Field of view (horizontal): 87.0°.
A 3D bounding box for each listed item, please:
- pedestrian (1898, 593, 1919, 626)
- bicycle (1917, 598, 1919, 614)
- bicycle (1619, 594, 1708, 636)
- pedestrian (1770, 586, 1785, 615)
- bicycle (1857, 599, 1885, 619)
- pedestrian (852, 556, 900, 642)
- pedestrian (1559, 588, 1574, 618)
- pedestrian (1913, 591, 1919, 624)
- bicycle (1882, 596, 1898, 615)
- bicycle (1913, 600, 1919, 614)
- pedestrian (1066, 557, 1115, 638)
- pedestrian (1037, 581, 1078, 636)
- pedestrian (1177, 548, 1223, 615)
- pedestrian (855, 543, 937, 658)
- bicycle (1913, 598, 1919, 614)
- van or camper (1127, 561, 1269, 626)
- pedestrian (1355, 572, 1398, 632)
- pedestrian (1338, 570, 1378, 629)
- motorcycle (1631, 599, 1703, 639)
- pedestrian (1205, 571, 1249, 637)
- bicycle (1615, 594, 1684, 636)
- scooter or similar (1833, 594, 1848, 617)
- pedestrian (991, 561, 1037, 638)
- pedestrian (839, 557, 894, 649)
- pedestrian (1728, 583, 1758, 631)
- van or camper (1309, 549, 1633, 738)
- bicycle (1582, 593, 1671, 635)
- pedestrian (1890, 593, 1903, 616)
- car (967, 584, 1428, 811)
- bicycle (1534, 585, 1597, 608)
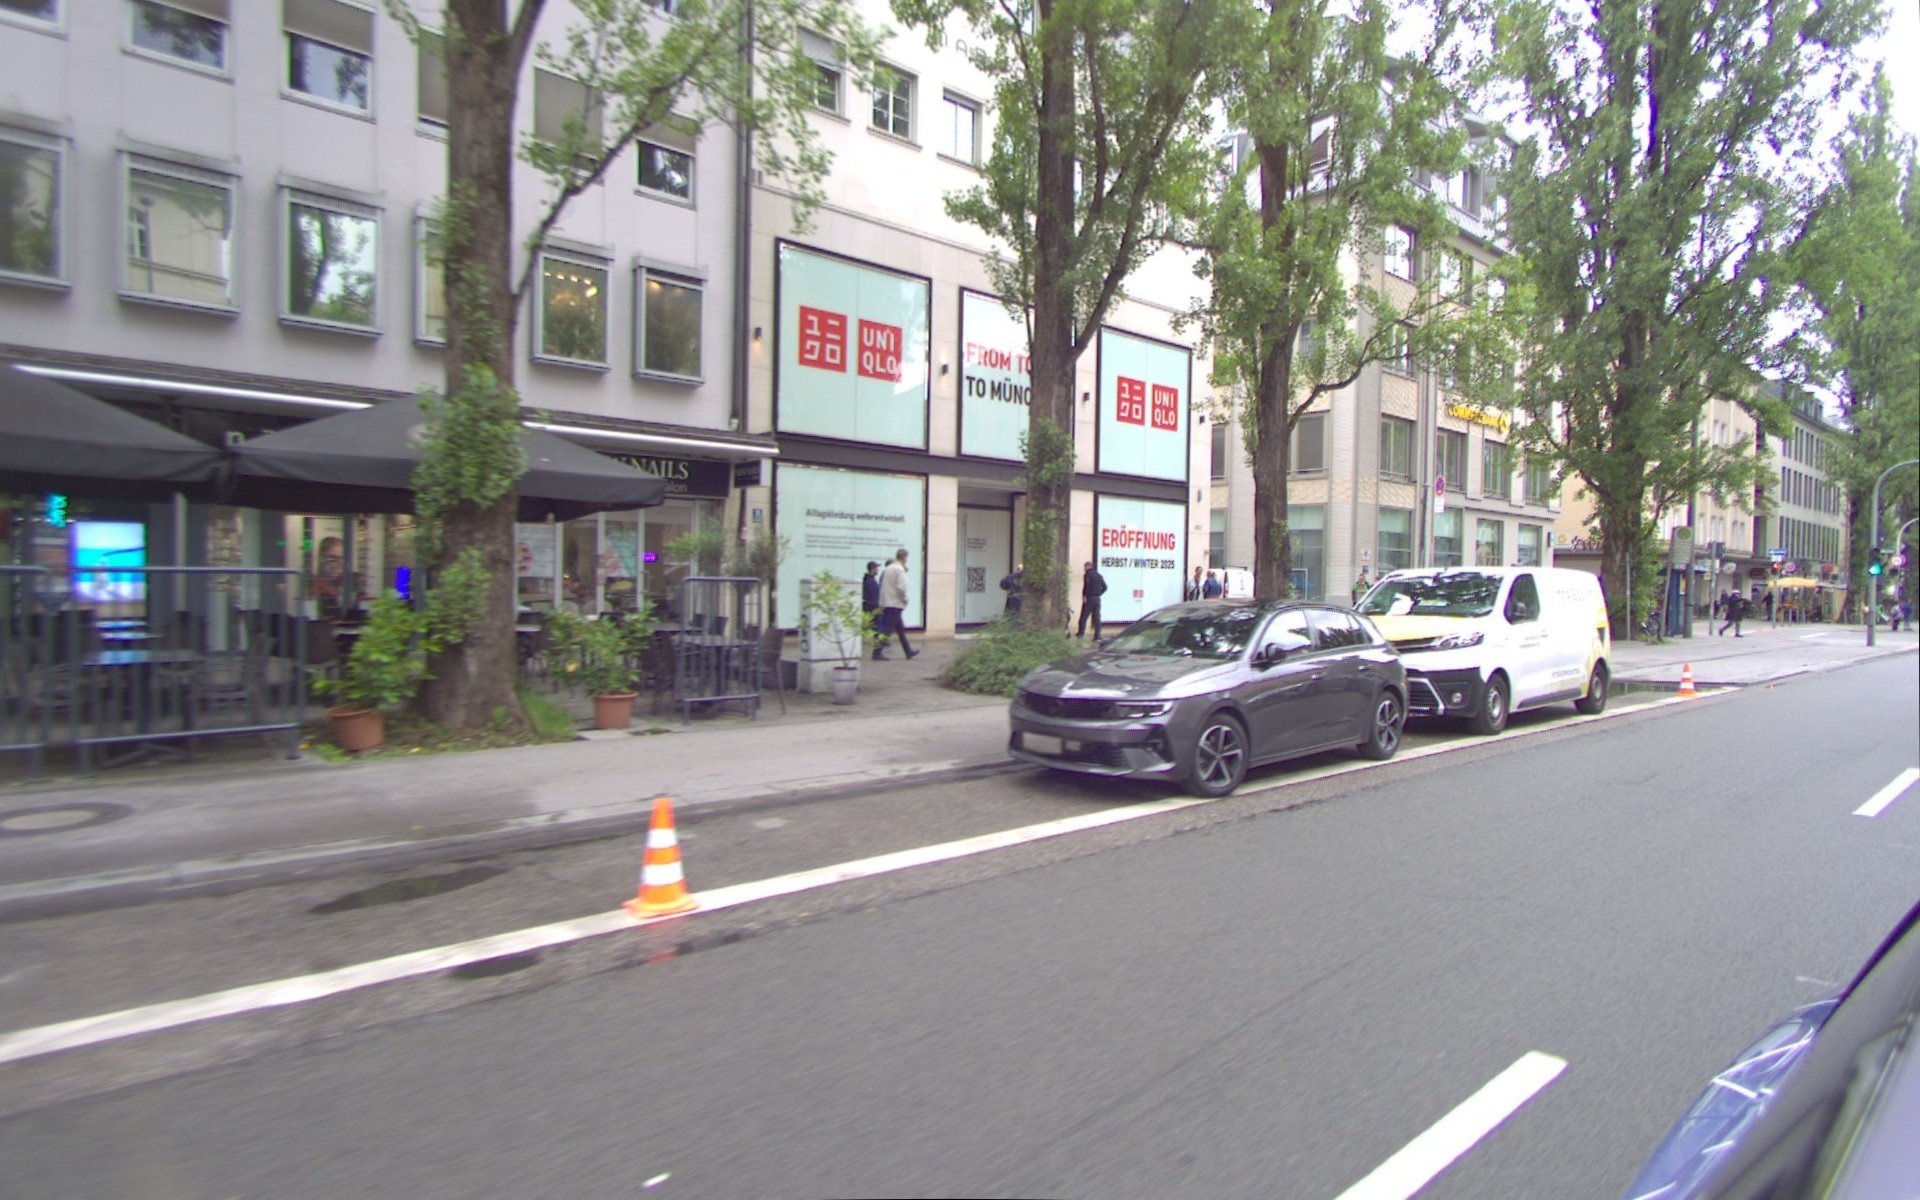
[{"bbox_3d":[46.808,0.464,49.788,0.608,1.536,0.768,0,2,4],"label":"pedestrian"},{"bbox_3d":[70.715,0.457,73.570,1.658,1.121,0.391,2,1,39],"label":"bicycle"},{"bbox_3d":[22.901,0.477,32.988,0.469,1.268,2.320,0,1,-40],"label":"bicycle"},{"bbox_3d":[49.330,0.028,61.058,0.526,1.694,0.542,1,1,-33],"label":"pedestrian"},{"bbox_3d":[49.869,0.481,55.376,1.774,1.084,0.406,0,-4,-24],"label":"bicycle"},{"bbox_3d":[-1.638,-0.027,19.739,0.671,1.629,0.672,0,1,-35],"label":"pedestrian"},{"bbox_3d":[32.513,0.156,54.223,0.437,1.577,0.584,0,0,-39],"label":"pedestrian"},{"bbox_3d":[48.423,0.381,50.821,0.850,1.630,0.766,0,1,-44],"label":"pedestrian"},{"bbox_3d":[52.104,0.290,56.707,1.740,1.061,0.509,0,1,-43],"label":"bicycle"},{"bbox_3d":[67.729,0.527,70.462,1.997,0.957,0.281,2,1,42],"label":"bicycle"},{"bbox_3d":[2.952,-0.068,22.890,0.851,1.786,0.684,1,1,-34],"label":"pedestrian"},{"bbox_3d":[2.252,0.188,23.361,0.672,1.249,0.671,0,0,-39],"label":"pedestrian"},{"bbox_3d":[6.388,-0.500,26.983,0.945,1.739,0.752,0,1,-40],"label":"pedestrian"},{"bbox_3d":[-1.075,-0.002,17.031,1.080,1.864,0.828,0,1,-40],"label":"pedestrian"},{"bbox_3d":[67.531,0.461,70.211,1.997,1.096,0.282,2,1,41],"label":"bicycle"},{"bbox_3d":[7.366,-0.206,31.660,1.862,1.890,4.117,0,0,-36],"label":"van or camper"},{"bbox_3d":[12.102,0.043,29.412,0.945,1.698,0.752,0,1,-39],"label":"pedestrian"},{"bbox_3d":[11.927,-0.030,30.334,0.945,1.739,0.752,1,1,-39],"label":"pedestrian"},{"bbox_3d":[21.808,0.560,31.233,0.500,1.154,1.729,0,1,-38],"label":"motorcycle"},{"bbox_3d":[6.979,0.099,26.452,0.945,1.683,0.653,0,1,-40],"label":"pedestrian"},{"bbox_3d":[21.923,0.448,32.201,0.441,1.254,1.729,0,1,-38],"label":"bicycle"},{"bbox_3d":[48.211,0.289,55.417,0.405,1.259,1.355,1,1,33],"label":"scooter or similar"},{"bbox_3d":[1.182,-0.020,22.094,0.668,1.629,0.818,2,1,35],"label":"pedestrian"},{"bbox_3d":[-1.720,0.047,18.590,0.757,1.630,0.672,0,0,-37],"label":"pedestrian"},{"bbox_3d":[29.603,0.247,38.251,0.739,1.780,0.710,0,1,-39],"label":"pedestrian"},{"bbox_3d":[6.440,0.414,12.475,4.817,1.906,1.872,0,1,-41],"label":"van or camper"},{"bbox_3d":[21.863,0.432,33.247,0.622,1.268,2.348,0,1,-40],"label":"bicycle"},{"bbox_3d":[75.692,0.361,81.799,0.889,1.874,0.658,1,1,-38],"label":"pedestrian"},{"bbox_3d":[2.206,0.628,8.626,4.279,1.460,1.721,0,0,-42],"label":"car"},{"bbox_3d":[34.619,-0.220,57.890,0.982,1.268,2.976,0,0,-40],"label":"bicycle"}]
